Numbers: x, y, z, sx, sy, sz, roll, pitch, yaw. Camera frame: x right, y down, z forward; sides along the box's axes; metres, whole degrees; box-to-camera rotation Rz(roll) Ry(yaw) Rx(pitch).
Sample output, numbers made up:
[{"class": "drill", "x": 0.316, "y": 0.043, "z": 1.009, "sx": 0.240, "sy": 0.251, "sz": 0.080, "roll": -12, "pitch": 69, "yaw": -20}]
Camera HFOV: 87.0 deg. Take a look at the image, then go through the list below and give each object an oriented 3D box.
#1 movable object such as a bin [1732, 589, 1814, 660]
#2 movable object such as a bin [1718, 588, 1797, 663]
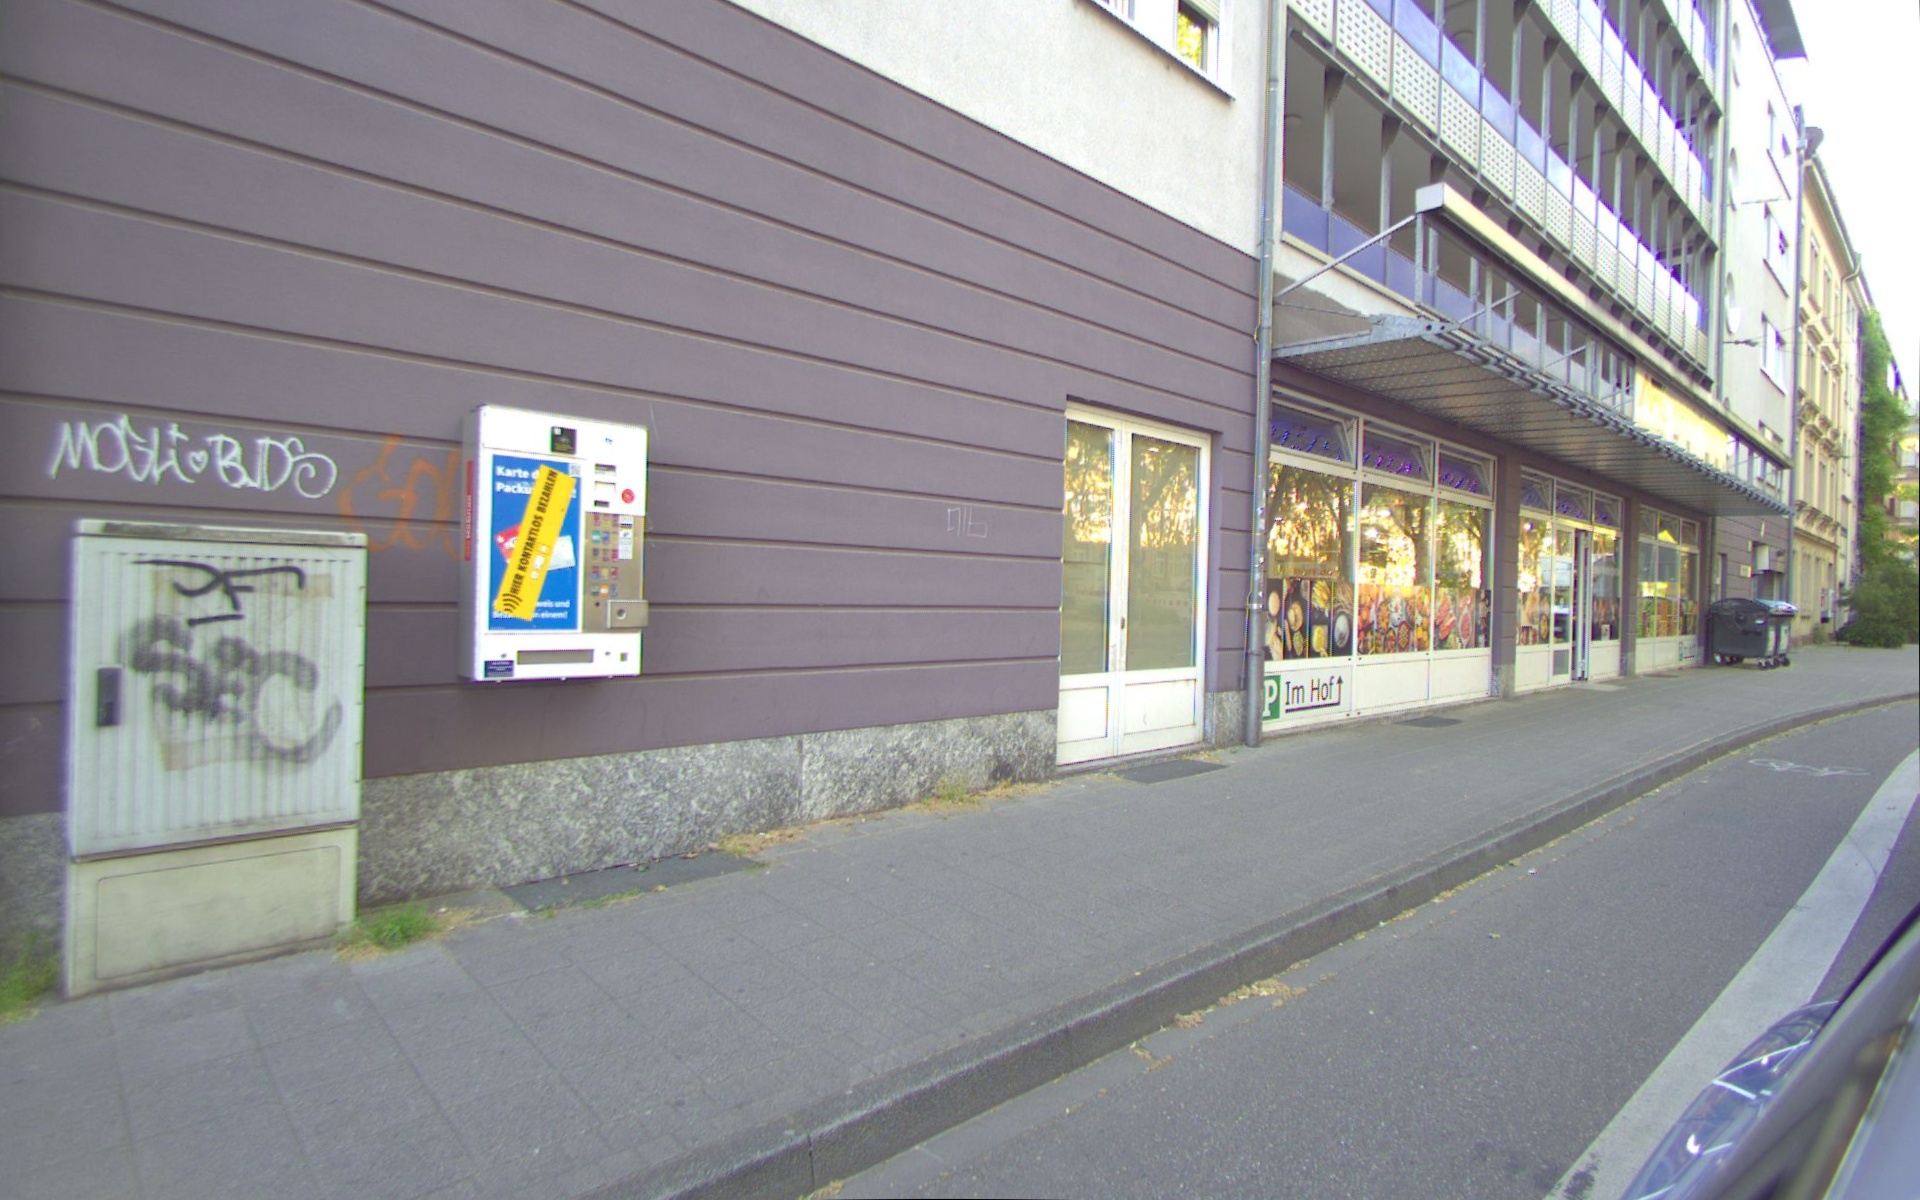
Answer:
[{"class": "movable object such as a bin", "x": 17.804, "y": 0.514, "z": 22.170, "sx": 1.282, "sy": 1.464, "sz": 1.123, "roll": 1, "pitch": 1, "yaw": -38}, {"class": "movable object such as a bin", "x": 16.455, "y": 0.494, "z": 20.883, "sx": 1.274, "sy": 1.465, "sz": 1.068, "roll": 1, "pitch": 1, "yaw": -42}]
